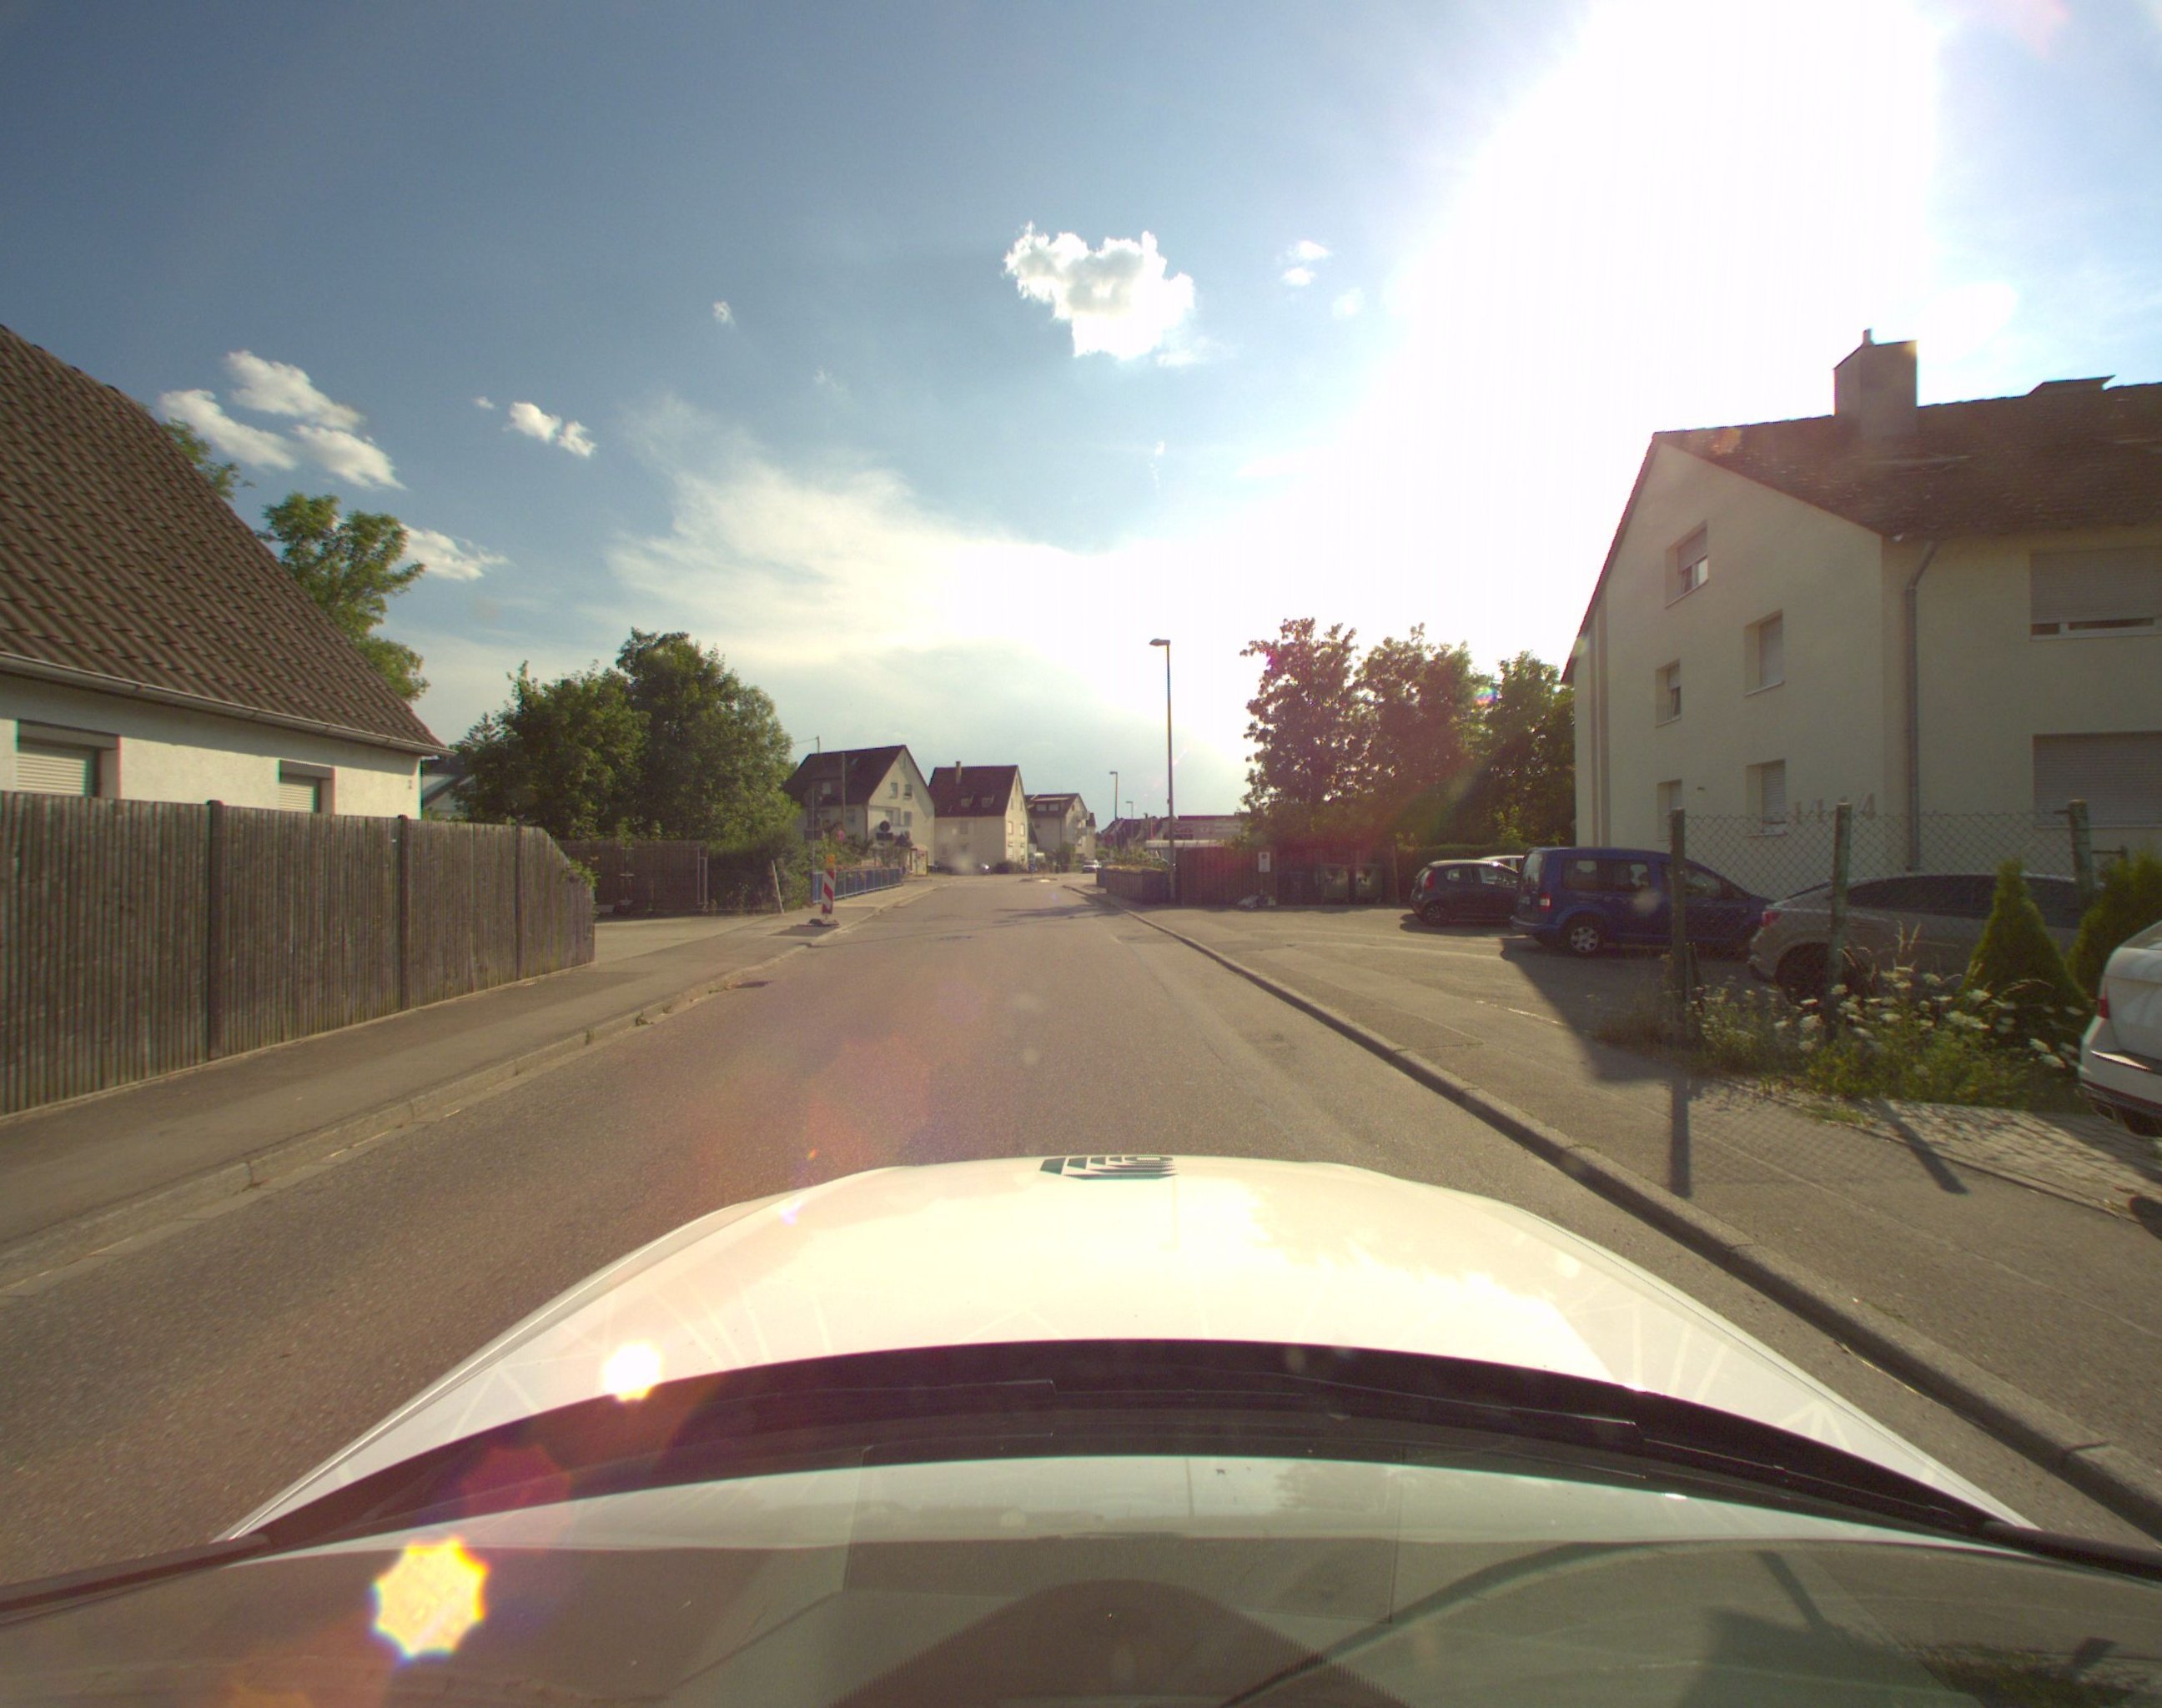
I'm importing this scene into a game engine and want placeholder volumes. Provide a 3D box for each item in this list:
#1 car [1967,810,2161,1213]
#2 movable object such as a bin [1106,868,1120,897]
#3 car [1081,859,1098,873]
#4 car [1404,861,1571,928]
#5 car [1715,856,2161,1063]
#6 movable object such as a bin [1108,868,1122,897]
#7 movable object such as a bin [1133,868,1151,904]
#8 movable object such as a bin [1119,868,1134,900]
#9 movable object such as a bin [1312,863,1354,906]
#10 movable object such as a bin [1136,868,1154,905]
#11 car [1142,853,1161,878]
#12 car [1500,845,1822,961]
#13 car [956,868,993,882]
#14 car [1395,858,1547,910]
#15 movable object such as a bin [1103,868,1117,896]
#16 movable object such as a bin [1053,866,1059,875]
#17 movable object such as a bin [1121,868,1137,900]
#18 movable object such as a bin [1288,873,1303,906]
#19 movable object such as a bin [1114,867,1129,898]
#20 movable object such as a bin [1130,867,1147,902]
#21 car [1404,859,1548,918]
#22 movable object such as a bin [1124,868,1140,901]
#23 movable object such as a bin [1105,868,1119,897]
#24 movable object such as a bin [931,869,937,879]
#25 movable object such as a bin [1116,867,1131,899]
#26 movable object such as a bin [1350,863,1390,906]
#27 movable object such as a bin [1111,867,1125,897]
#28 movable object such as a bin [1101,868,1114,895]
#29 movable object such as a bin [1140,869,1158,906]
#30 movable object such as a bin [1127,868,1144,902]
[{"bbox_3d":[6.055,0.565,2.408,4.432,1.458,1.737,0,-1,14],"label":"car"},{"bbox_3d":[1.274,1.131,32.439,0.478,1.143,0.537,0,-1,-6],"label":"movable object such as a bin"},{"bbox_3d":[1.212,1.712,112.284,1.706,1.873,4.203,-1,-1,10],"label":"car"},{"bbox_3d":[9.284,0.895,18.850,3.185,1.450,1.656,0,0,14],"label":"car"},{"bbox_3d":[8.429,0.842,7.179,1.699,1.519,4.248,4,-2,-19],"label":"car"},{"bbox_3d":[1.339,1.106,31.873,0.478,1.143,0.537,0,-1,-6],"label":"movable object such as a bin"},{"bbox_3d":[1.971,1.028,26.332,0.478,1.143,0.541,0,-1,-6],"label":"movable object such as a bin"},{"bbox_3d":[1.640,1.064,29.308,0.478,1.143,0.537,0,-1,-6],"label":"movable object such as a bin"},{"bbox_3d":[8.167,0.979,26.405,1.145,1.337,1.048,0,-1,8],"label":"movable object such as a bin"},{"bbox_3d":[2.025,1.030,25.762,0.478,1.143,0.537,0,-1,-6],"label":"movable object such as a bin"},{"bbox_3d":[7.155,1.167,82.079,1.827,2.375,5.186,-1,-1,6],"label":"car"},{"bbox_3d":[9.721,0.754,14.014,4.172,1.787,1.773,0,1,12],"label":"car"},{"bbox_3d":[-11.496,2.285,87.769,3.948,1.433,1.663,1,-1,37],"label":"car"},{"bbox_3d":[11.220,0.834,23.640,3.718,1.450,1.642,0,0,12],"label":"car"},{"bbox_3d":[1.197,1.157,33.666,0.478,1.143,0.537,0,-1,-6],"label":"movable object such as a bin"},{"bbox_3d":[-3.157,2.101,101.276,0.607,1.101,0.577,1,-2,10],"label":"movable object such as a bin"},{"bbox_3d":[1.700,1.054,28.729,0.478,1.143,0.537,0,-1,-6],"label":"movable object such as a bin"},{"bbox_3d":[6.963,1.135,26.427,0.429,1.044,0.442,0,-1,8],"label":"movable object such as a bin"},{"bbox_3d":[1.517,1.074,30.532,0.478,1.143,0.537,0,-1,-6],"label":"movable object such as a bin"},{"bbox_3d":[1.889,1.011,26.907,0.478,1.143,0.537,0,-1,-6],"label":"movable object such as a bin"},{"bbox_3d":[10.222,0.856,21.251,3.105,1.450,1.582,0,0,12],"label":"car"},{"bbox_3d":[1.763,1.049,28.135,0.478,1.143,0.537,0,-1,-6],"label":"movable object such as a bin"},{"bbox_3d":[1.246,1.147,33.075,0.478,1.143,0.537,0,-1,-6],"label":"movable object such as a bin"},{"bbox_3d":[-14.340,1.936,79.486,0.358,1.023,0.580,-1,-3,26],"label":"movable object such as a bin"},{"bbox_3d":[1.567,1.065,29.936,0.478,1.143,0.563,0,-1,-6],"label":"movable object such as a bin"},{"bbox_3d":[9.319,0.972,26.309,1.035,1.337,1.006,0,-1,8],"label":"movable object such as a bin"},{"bbox_3d":[1.425,1.077,31.222,0.478,1.143,0.537,0,-1,-6],"label":"movable object such as a bin"},{"bbox_3d":[1.125,1.143,34.293,0.478,1.143,0.537,0,-1,-6],"label":"movable object such as a bin"},{"bbox_3d":[2.099,1.032,25.209,0.478,1.143,0.537,0,-1,-6],"label":"movable object such as a bin"},{"bbox_3d":[1.827,1.034,27.503,0.478,1.143,0.537,0,-1,-6],"label":"movable object such as a bin"}]
